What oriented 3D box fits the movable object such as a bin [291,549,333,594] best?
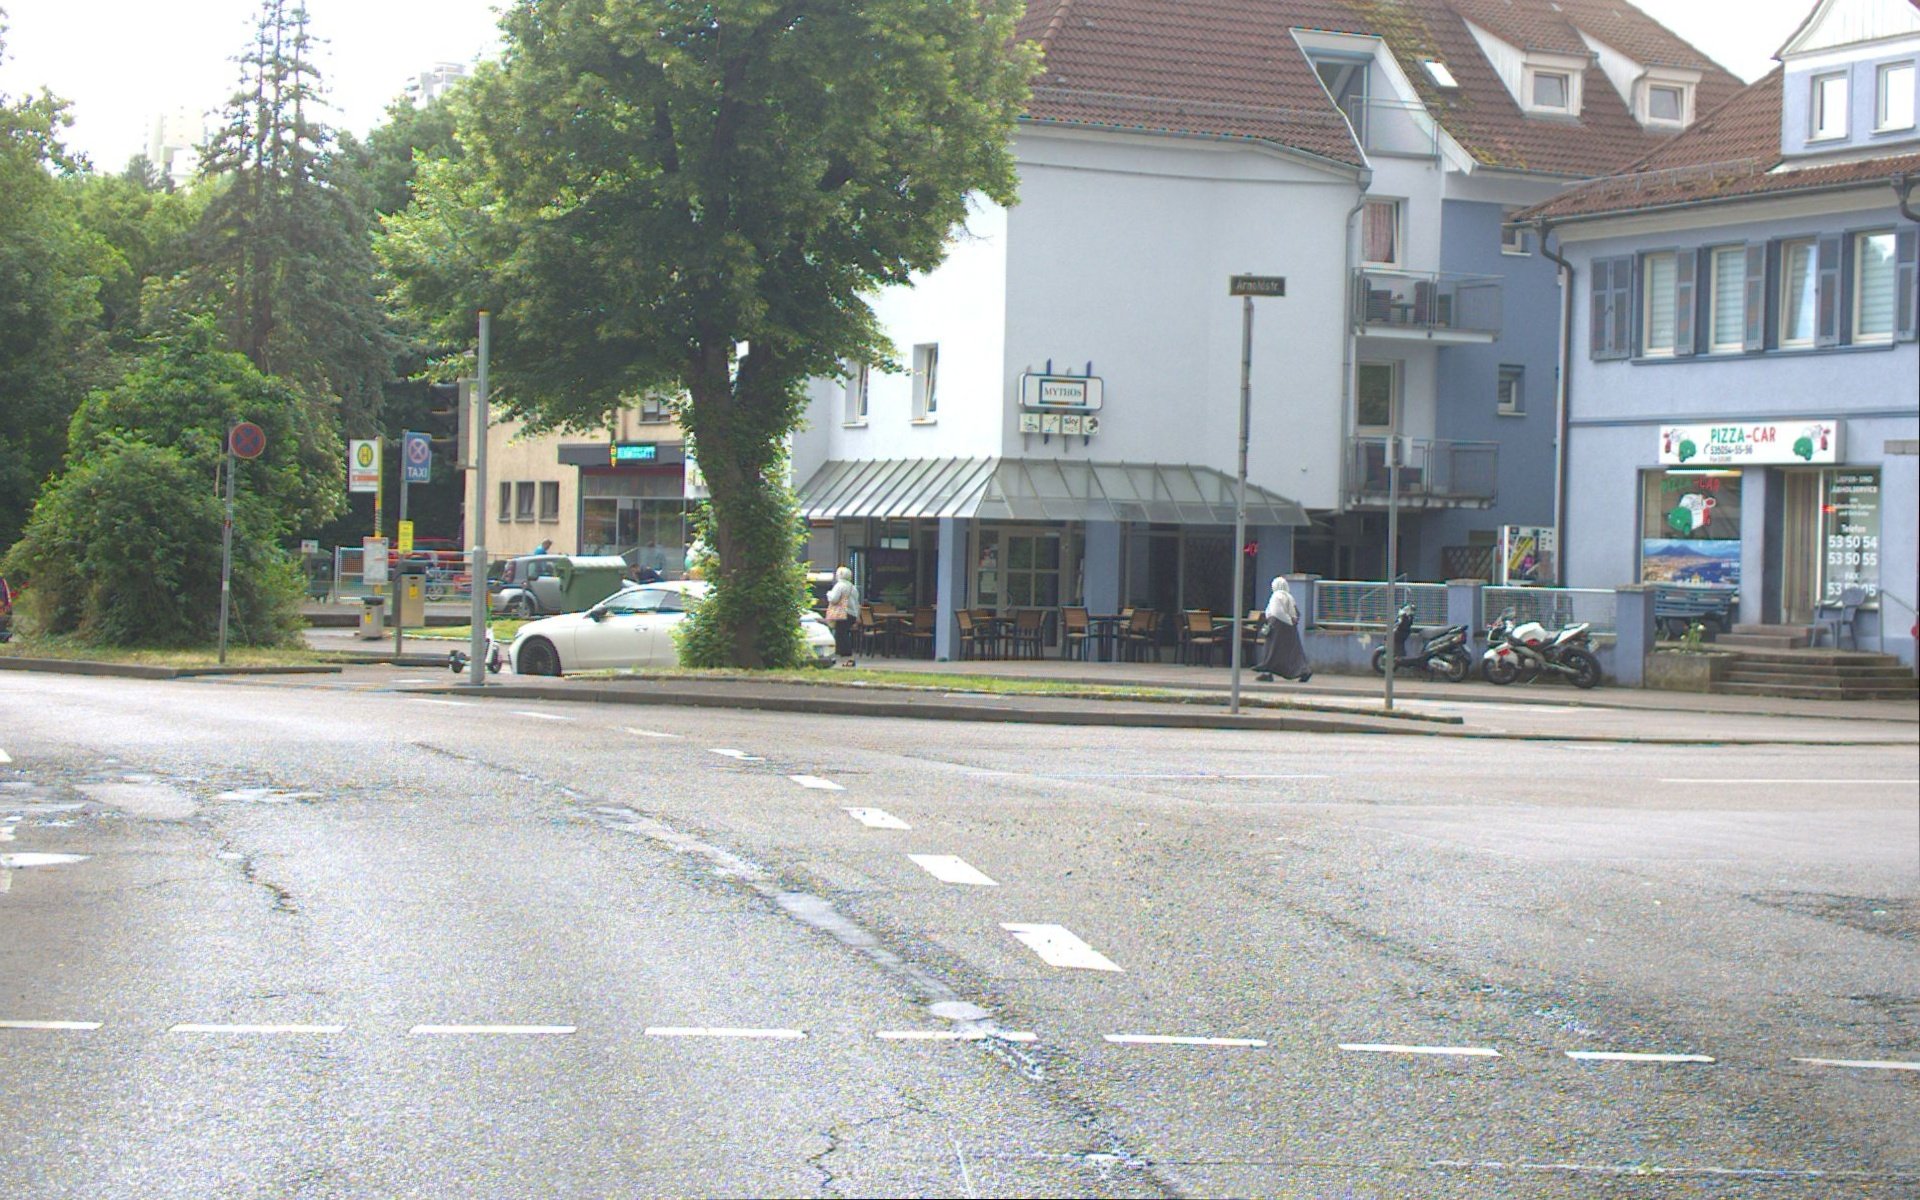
[{"bbox_3d":[-16.243,-0.723,86.169,0.950,1.111,0.383,1,1,-21],"label":"movable object such as a bin"}]

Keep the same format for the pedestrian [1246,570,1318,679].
[{"bbox_3d":[4.666,0.350,49.865,0.768,1.539,0.677,1,1,39],"label":"pedestrian"}]

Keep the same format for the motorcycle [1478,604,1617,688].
[{"bbox_3d":[8.257,0.636,48.380,1.798,1.118,0.693,2,1,38],"label":"motorcycle"}]

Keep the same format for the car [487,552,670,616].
[{"bbox_3d":[-8.423,-0.358,75.873,3.733,1.340,1.434,1,1,-26],"label":"car"}]

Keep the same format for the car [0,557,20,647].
[{"bbox_3d":[-16.513,-0.008,53.724,3.590,1.389,1.469,2,1,32],"label":"car"}]

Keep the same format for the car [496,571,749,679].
[{"bbox_3d":[-4.531,0.319,46.044,3.171,1.350,1.436,2,1,35],"label":"car"}]

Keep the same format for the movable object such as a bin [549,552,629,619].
[{"bbox_3d":[-7.981,-0.317,73.976,1.440,1.404,0.967,1,1,-27],"label":"movable object such as a bin"}]

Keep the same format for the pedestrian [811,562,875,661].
[{"bbox_3d":[-1.840,0.181,54.066,0.707,1.539,0.677,2,1,40],"label":"pedestrian"}]

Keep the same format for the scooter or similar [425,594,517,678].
[{"bbox_3d":[-6.059,0.434,42.651,0.417,1.008,1.565,1,1,20],"label":"scooter or similar"}]

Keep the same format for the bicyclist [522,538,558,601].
[{"bbox_3d":[-10.339,-0.747,84.636,0.737,1.536,0.600,1,1,-19],"label":"bicyclist"}]

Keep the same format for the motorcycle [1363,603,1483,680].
[{"bbox_3d":[6.752,0.599,50.159,1.636,1.060,0.693,2,1,44],"label":"motorcycle"}]
